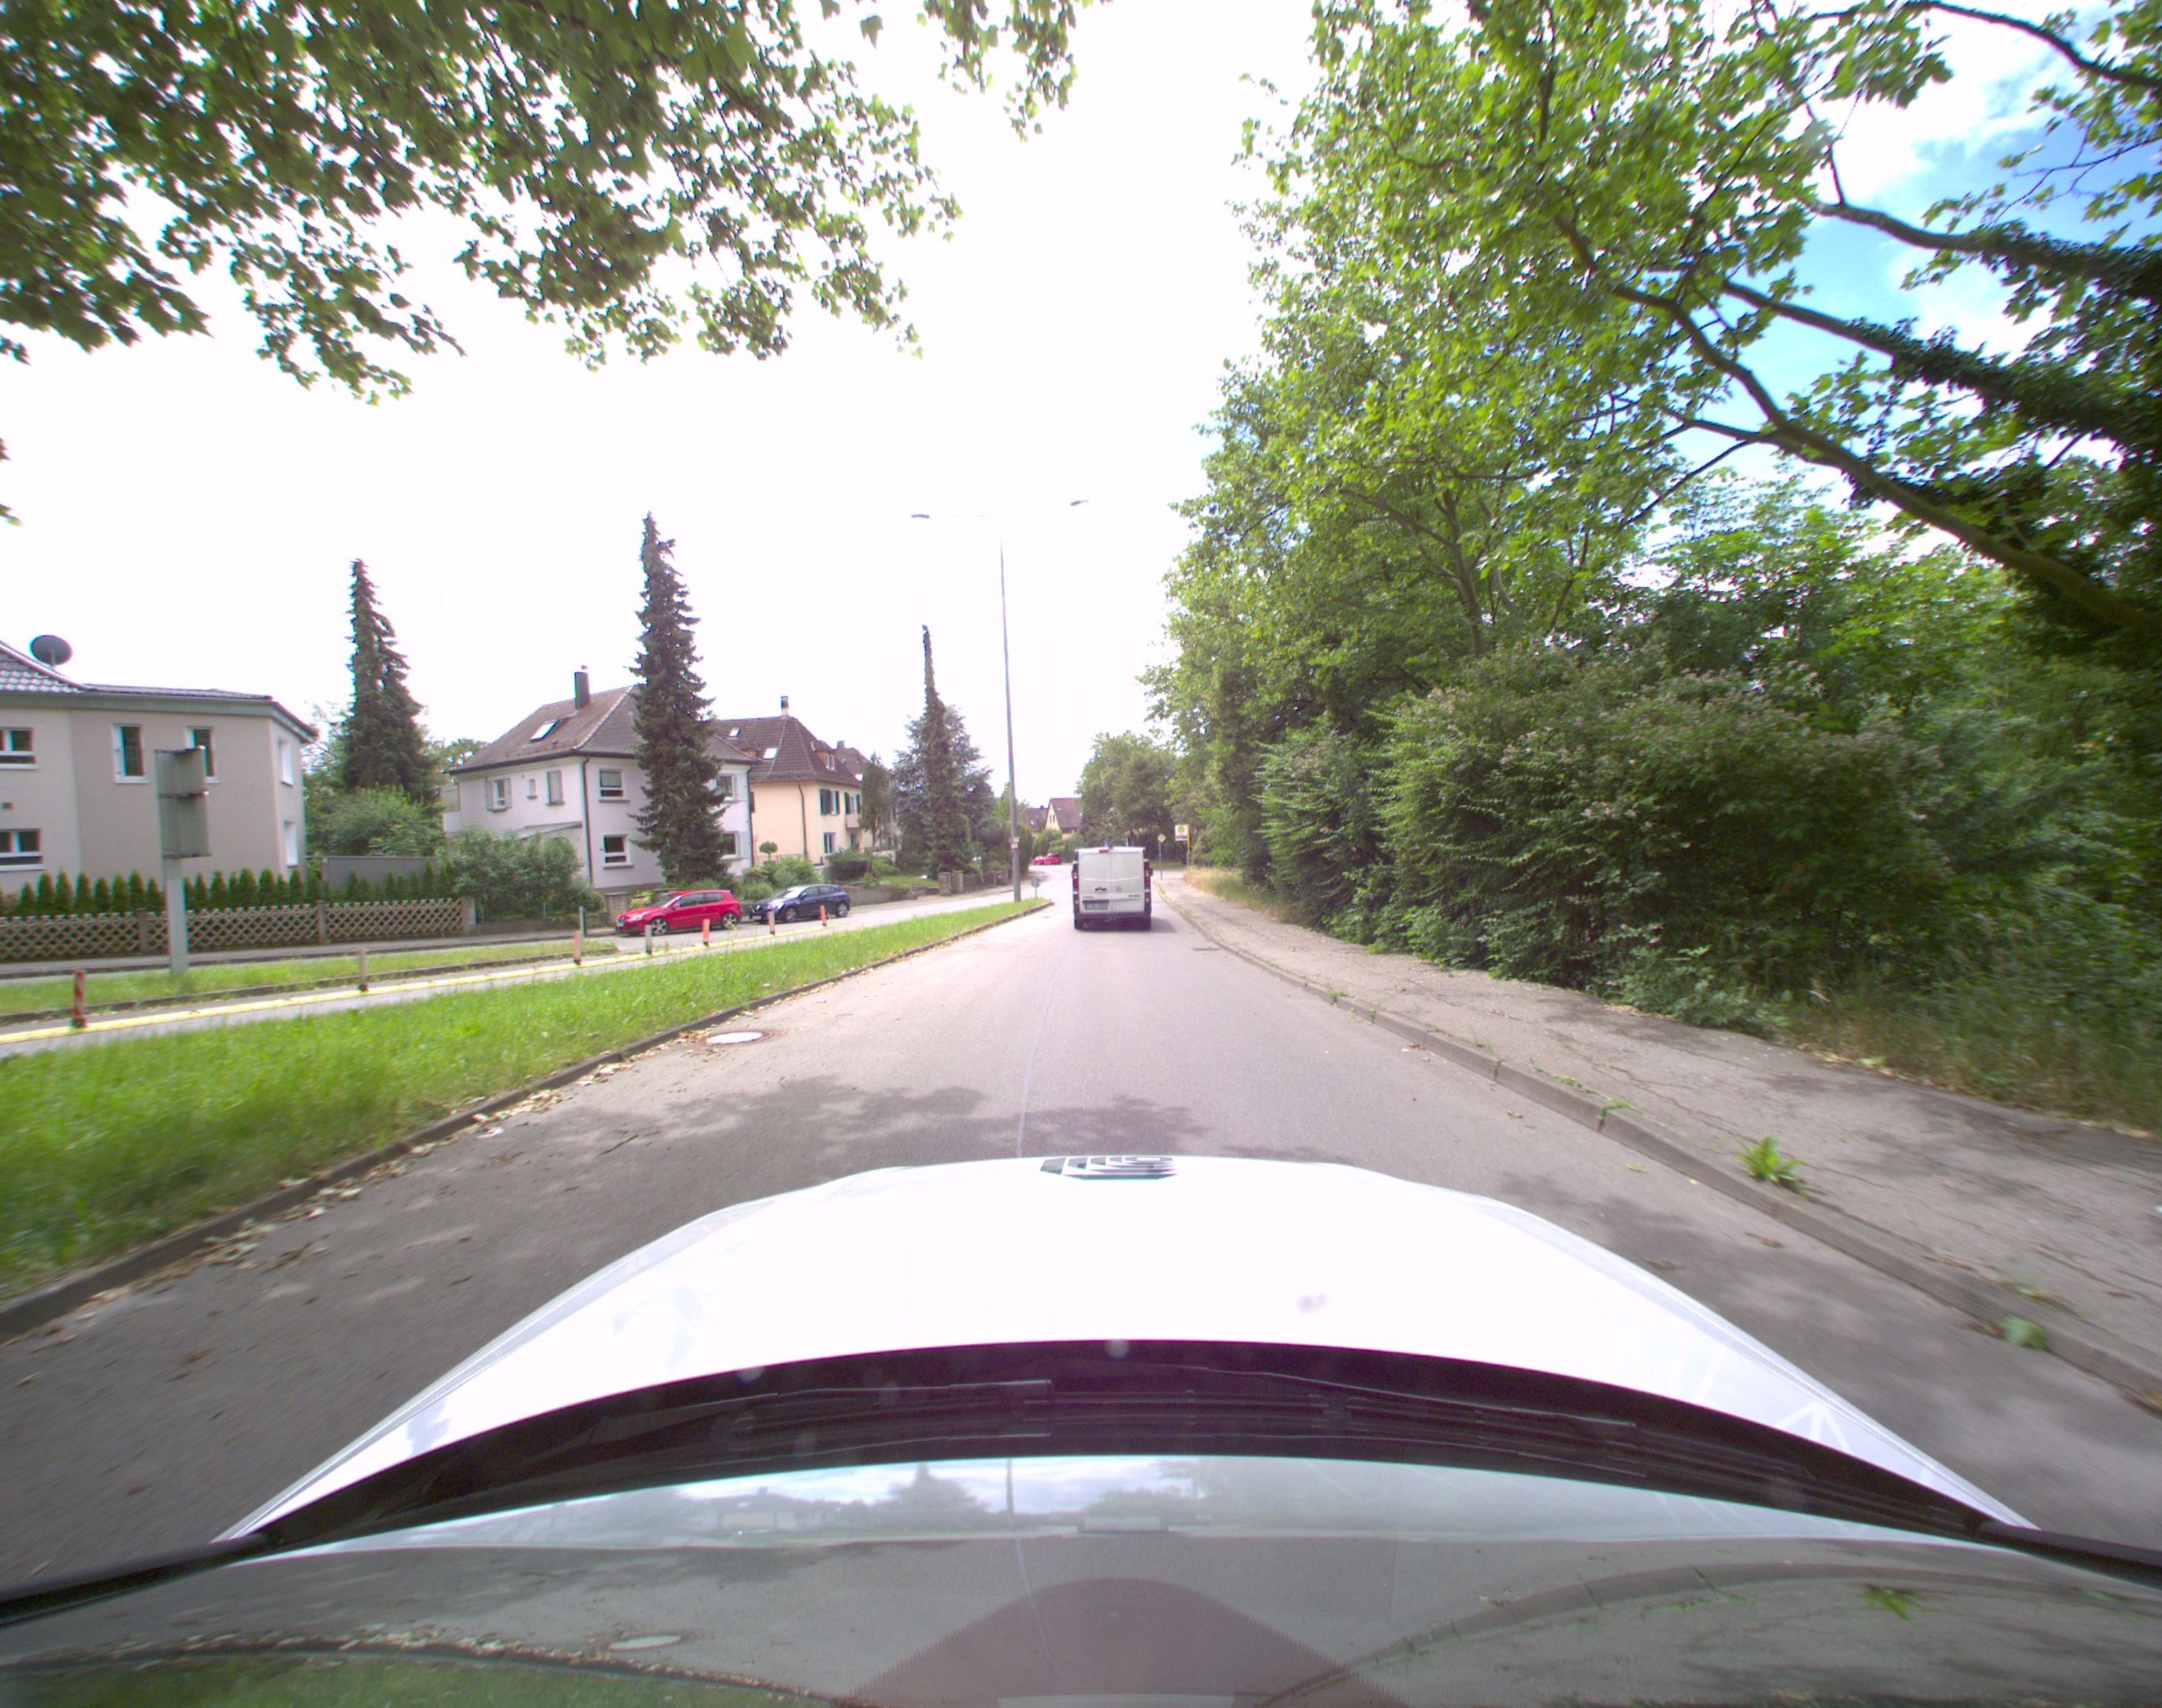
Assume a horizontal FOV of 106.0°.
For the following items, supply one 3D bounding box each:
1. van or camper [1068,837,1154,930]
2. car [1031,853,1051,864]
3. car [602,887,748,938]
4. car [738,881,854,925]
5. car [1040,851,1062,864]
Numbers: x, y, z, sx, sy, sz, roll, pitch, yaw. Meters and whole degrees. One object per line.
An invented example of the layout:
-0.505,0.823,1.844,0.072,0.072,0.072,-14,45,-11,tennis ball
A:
0.837,0.635,21.026,1.916,2.013,4.835,-2,2,4,van or camper
-6.292,0.721,127.112,1.720,1.467,4.233,-3,0,-24,car
-14.227,2.005,28.781,1.710,1.474,4.306,-2,-1,34,car
-11.419,1.944,32.924,1.710,1.474,4.341,-2,-1,29,car
-4.482,0.564,122.120,1.767,1.797,4.914,-3,0,-20,car
